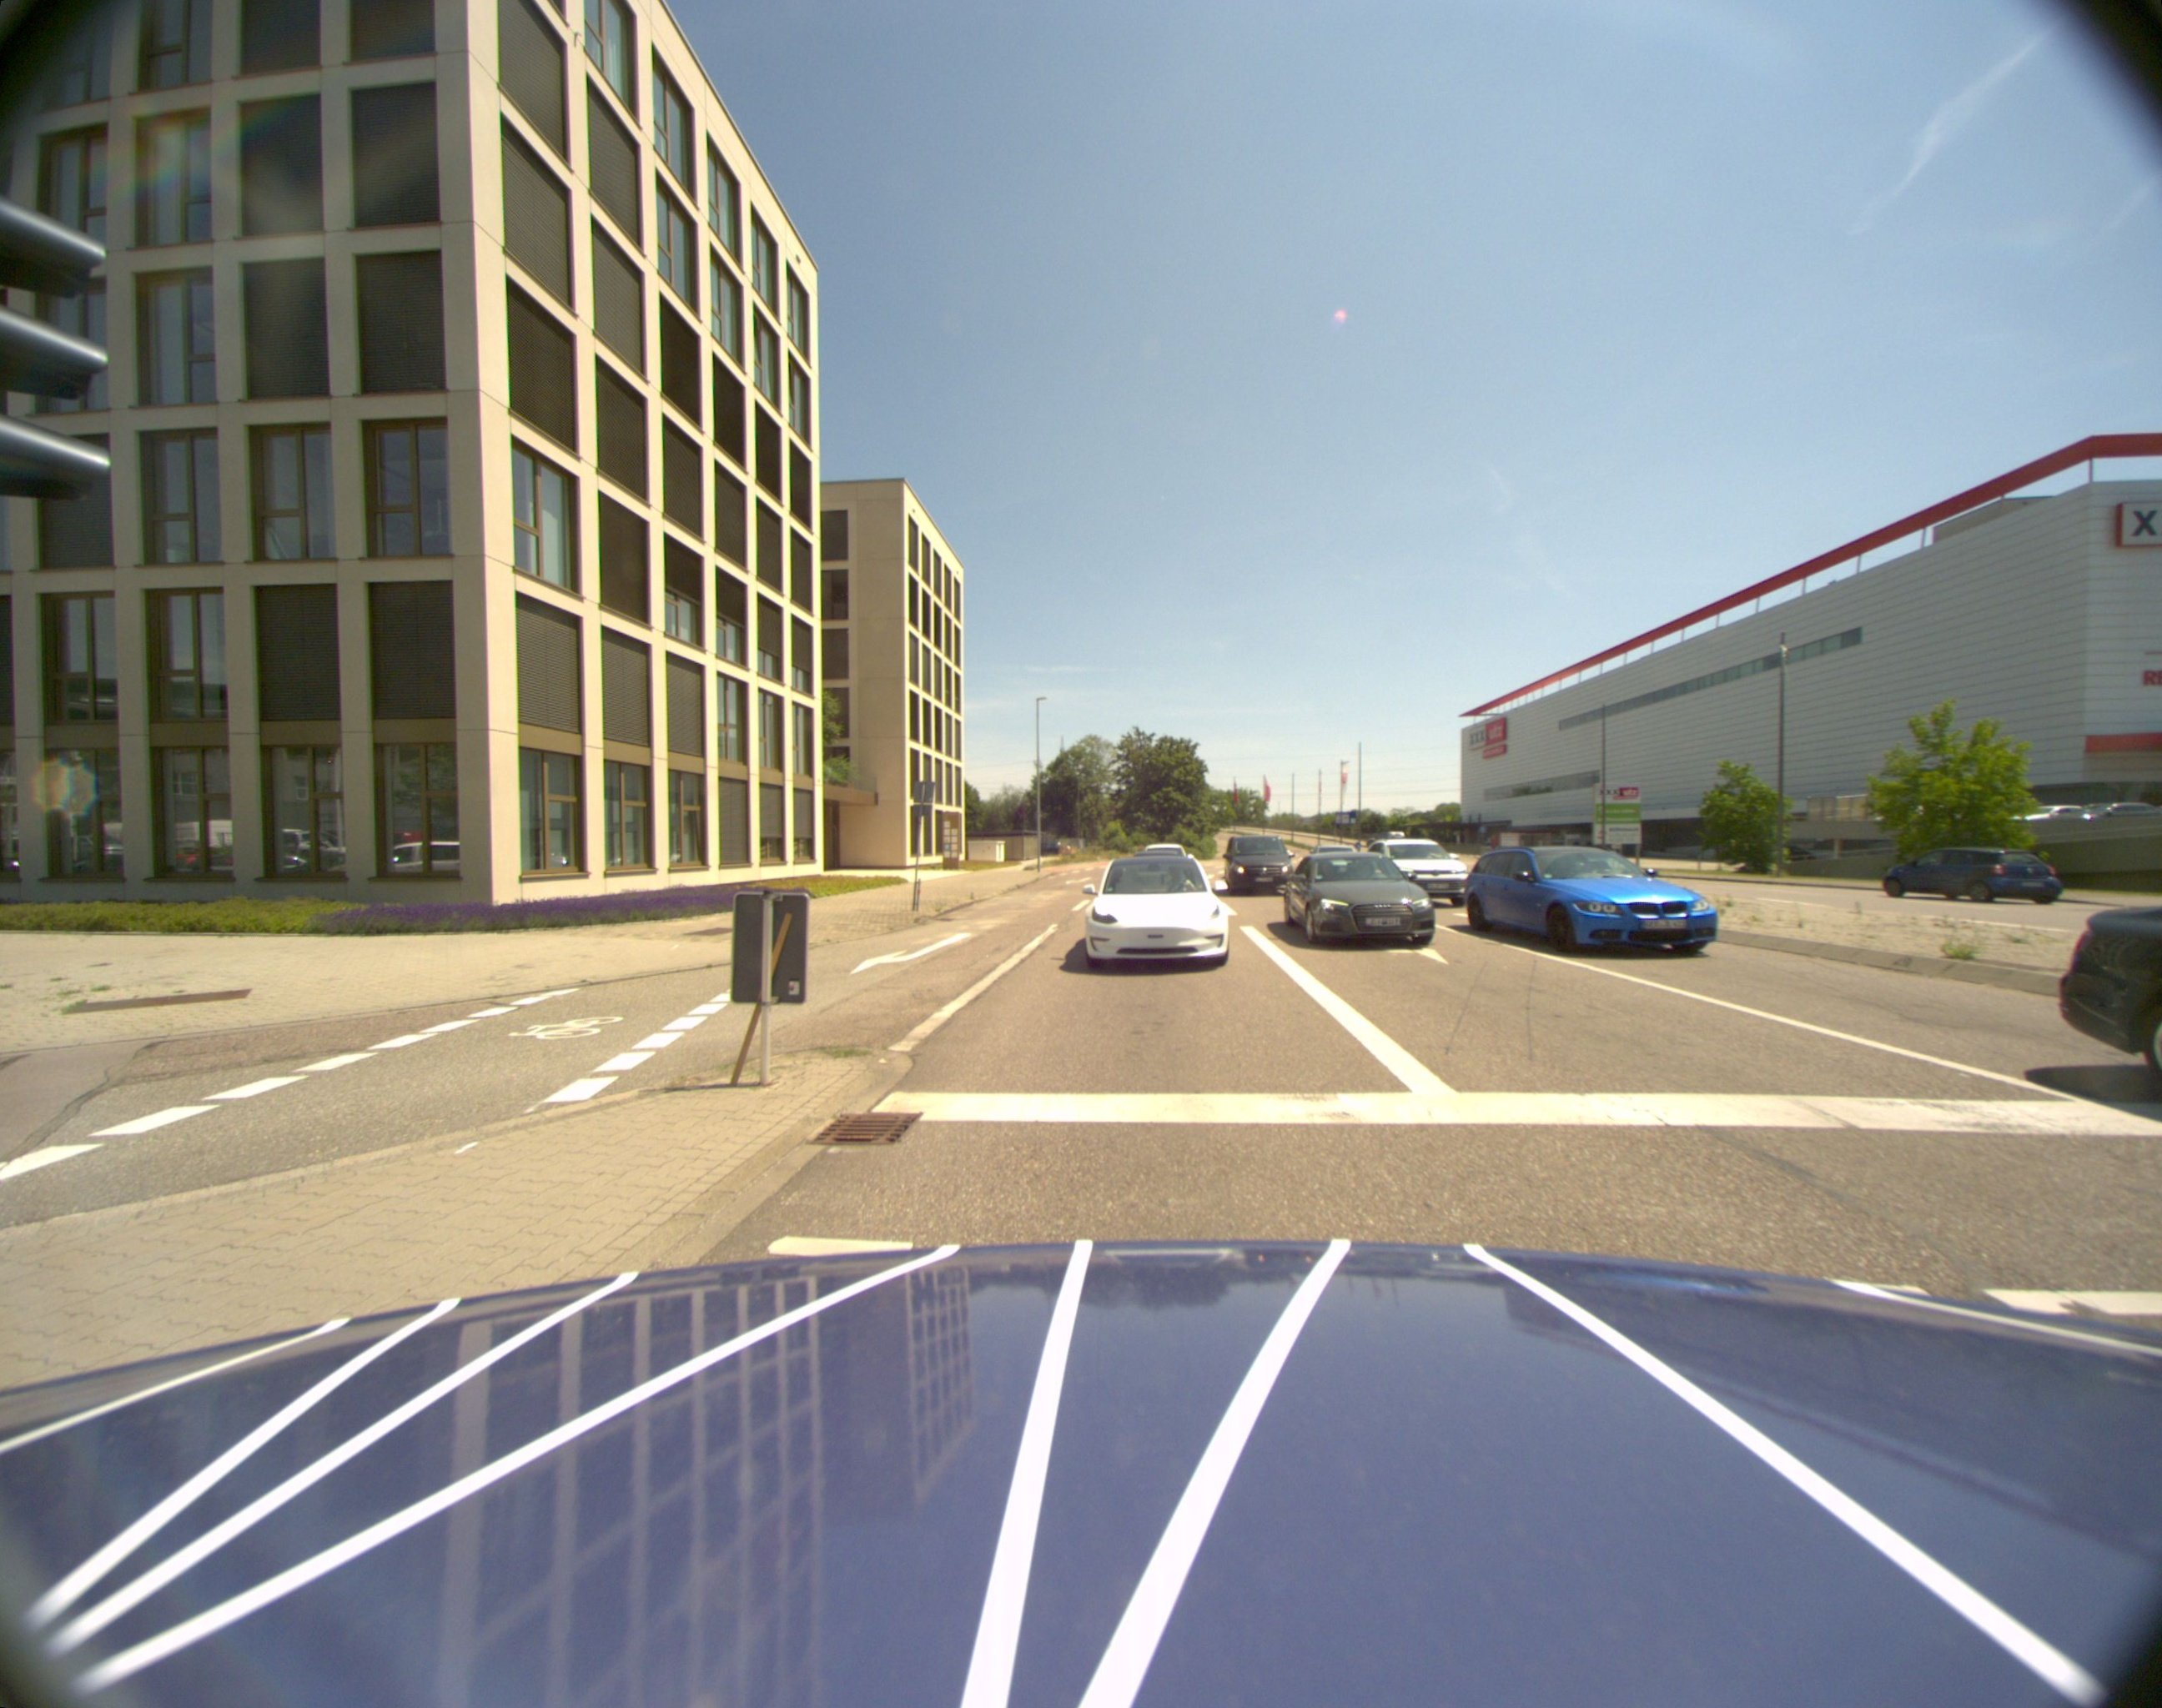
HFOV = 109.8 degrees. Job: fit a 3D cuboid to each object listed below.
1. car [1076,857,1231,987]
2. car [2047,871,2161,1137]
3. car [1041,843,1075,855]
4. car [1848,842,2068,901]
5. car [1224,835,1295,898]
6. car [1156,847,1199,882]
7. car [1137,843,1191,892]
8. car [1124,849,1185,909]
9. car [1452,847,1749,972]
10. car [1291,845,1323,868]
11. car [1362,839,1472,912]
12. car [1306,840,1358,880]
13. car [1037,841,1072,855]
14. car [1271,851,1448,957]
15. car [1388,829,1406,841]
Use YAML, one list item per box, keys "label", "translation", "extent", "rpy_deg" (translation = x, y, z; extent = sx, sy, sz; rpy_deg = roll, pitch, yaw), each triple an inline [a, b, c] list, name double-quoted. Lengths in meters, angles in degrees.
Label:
- label: "car"
  translation: [1.055, 0.837, 11.335]
  extent: [1.822, 1.428, 4.285]
  rpy_deg: [-2, 1, 5]
- label: "car"
  translation: [6.397, 0.804, 2.243]
  extent: [1.675, 1.396, 4.468]
  rpy_deg: [0, 0, 6]
- label: "car"
  translation: [-2.795, -0.653, 90.803]
  extent: [3.833, 1.386, 1.737]
  rpy_deg: [0, 1, -9]
- label: "car"
  translation: [25.456, 0.443, 22.314]
  extent: [1.998, 1.587, 4.001]
  rpy_deg: [0, 1, 5]
- label: "car"
  translation: [5.669, 0.309, 24.687]
  extent: [1.894, 1.811, 4.839]
  rpy_deg: [-1, 1, 9]
- label: "car"
  translation: [4.291, 0.441, 34.086]
  extent: [1.768, 1.395, 3.952]
  rpy_deg: [-1, 1, 6]
- label: "car"
  translation: [3.086, 0.422, 27.646]
  extent: [1.777, 1.600, 3.822]
  rpy_deg: [0, 2, 9]
- label: "car"
  translation: [2.192, 0.651, 21.889]
  extent: [1.555, 1.528, 3.823]
  rpy_deg: [0, 1, 9]
- label: "car"
  translation: [7.380, 0.659, 11.433]
  extent: [1.768, 1.395, 4.432]
  rpy_deg: [-2, 1, 6]
- label: "car"
  translation: [15.035, 0.116, 50.441]
  extent: [1.605, 1.431, 3.739]
  rpy_deg: [0, 1, 23]
- label: "car"
  translation: [8.530, 0.454, 19.669]
  extent: [1.767, 1.632, 4.495]
  rpy_deg: [-2, 1, 13]
- label: "car"
  translation: [9.819, 0.200, 29.806]
  extent: [1.767, 1.414, 3.904]
  rpy_deg: [-2, 0, 18]
- label: "car"
  translation: [-3.132, -0.683, 88.772]
  extent: [3.833, 1.543, 1.737]
  rpy_deg: [0, 1, -9]
- label: "car"
  translation: [4.379, 0.702, 12.610]
  extent: [1.768, 1.374, 4.090]
  rpy_deg: [-1, 1, 6]
- label: "car"
  translation: [62.983, -3.753, 151.450]
  extent: [2.191, 2.270, 4.815]
  rpy_deg: [0, 1, 8]
